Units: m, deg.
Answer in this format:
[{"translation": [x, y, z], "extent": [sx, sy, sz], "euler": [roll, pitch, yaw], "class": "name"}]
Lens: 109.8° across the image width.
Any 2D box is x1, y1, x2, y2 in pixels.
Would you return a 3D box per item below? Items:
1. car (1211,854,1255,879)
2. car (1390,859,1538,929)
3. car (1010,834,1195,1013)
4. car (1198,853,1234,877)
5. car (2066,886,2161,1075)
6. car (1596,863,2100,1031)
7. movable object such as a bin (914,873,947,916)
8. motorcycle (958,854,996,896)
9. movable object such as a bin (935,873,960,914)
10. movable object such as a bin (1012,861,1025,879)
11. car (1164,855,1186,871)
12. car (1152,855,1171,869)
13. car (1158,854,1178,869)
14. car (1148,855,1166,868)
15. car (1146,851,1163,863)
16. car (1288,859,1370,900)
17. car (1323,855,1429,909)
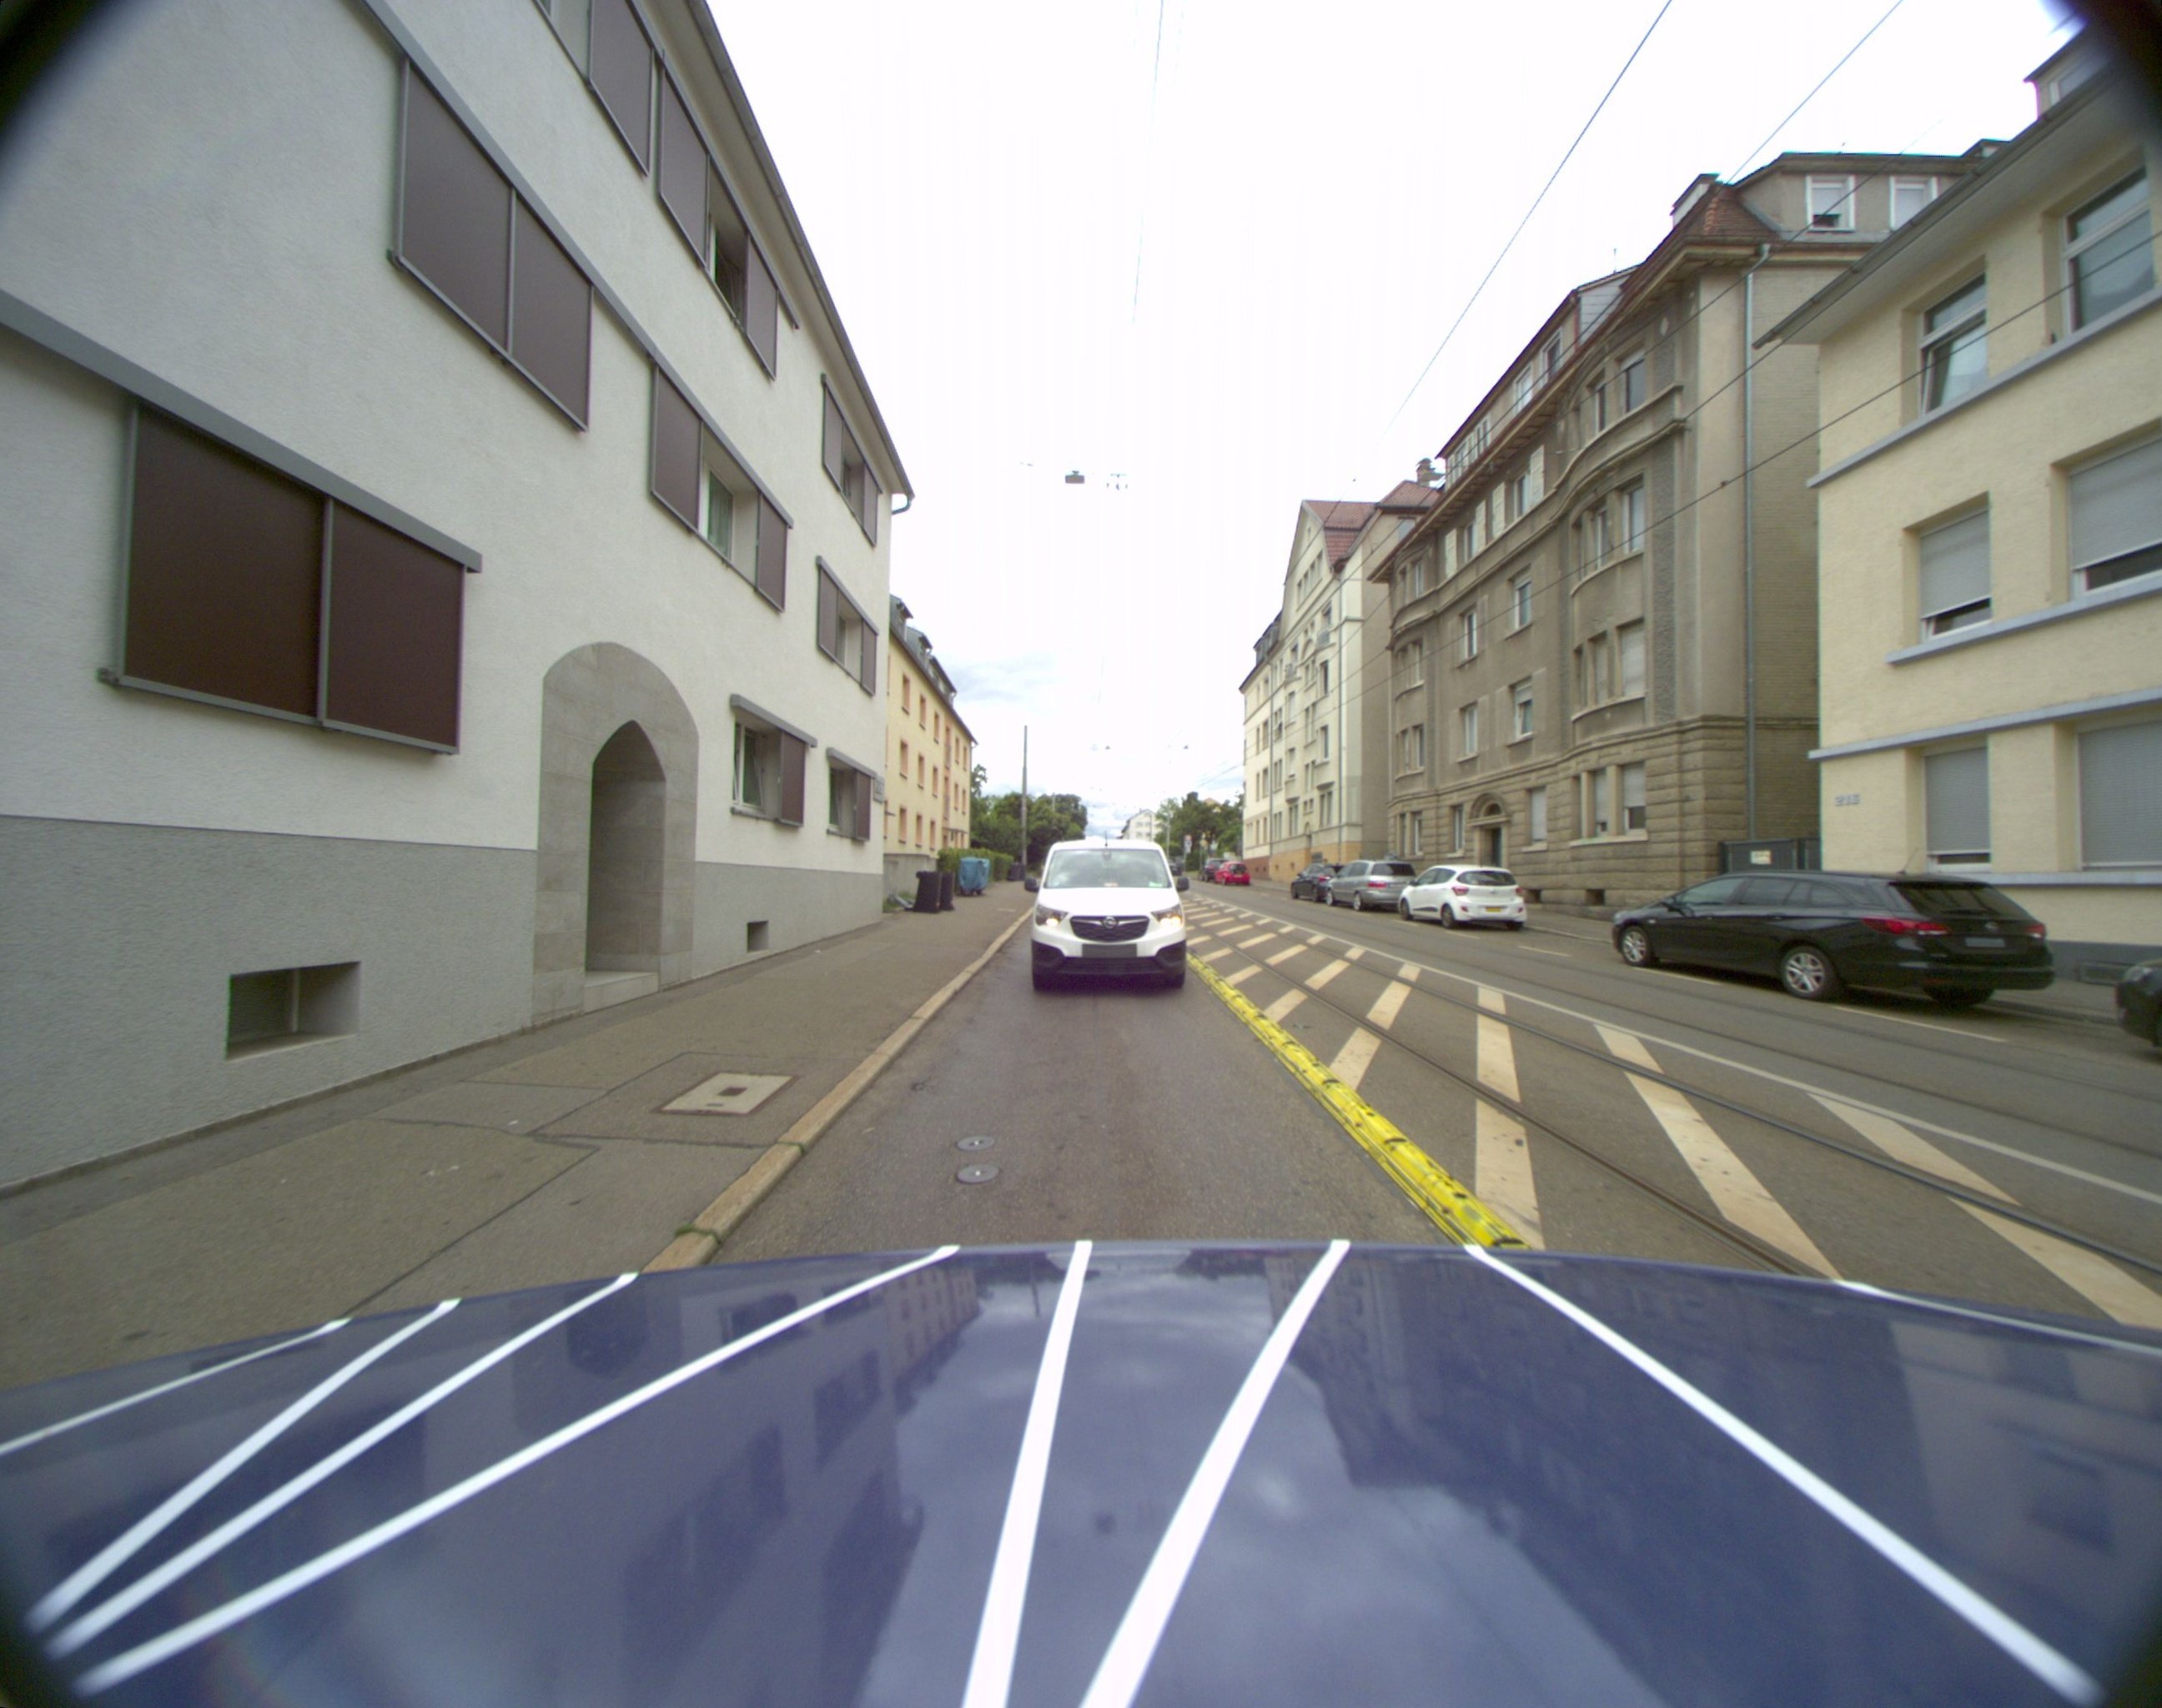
[{"translation": [9.575, 0.779, 48.240], "extent": [1.743, 1.450, 3.950], "euler": [2, 0, -3], "class": "car"}, {"translation": [9.219, 0.894, 18.678], "extent": [1.743, 1.502, 3.800], "euler": [1, 0, 1], "class": "car"}, {"translation": [0.253, 0.715, 10.224], "extent": [1.888, 1.827, 4.676], "euler": [-1, 0, 1], "class": "car"}, {"translation": [9.440, 0.757, 53.272], "extent": [1.743, 1.517, 3.951], "euler": [2, 0, 0], "class": "car"}, {"translation": [9.072, 1.008, 4.171], "extent": [1.789, 1.402, 4.241], "euler": [2, 0, 1], "class": "car"}, {"translation": [8.949, 0.925, 9.616], "extent": [1.789, 1.502, 4.526], "euler": [2, 0, 1], "class": "car"}, {"translation": [-3.716, 1.005, 18.815], "extent": [0.637, 1.003, 0.602], "euler": [3, 0, 1], "class": "movable object such as a bin"}, {"translation": [-3.648, 0.741, 26.857], "extent": [0.731, 1.382, 1.937], "euler": [4, 0, 7], "class": "motorcycle"}, {"translation": [-3.474, 1.022, 19.775], "extent": [0.565, 1.003, 0.498], "euler": [3, 0, -8], "class": "movable object such as a bin"}, {"translation": [-3.603, 0.940, 44.042], "extent": [0.669, 1.053, 0.539], "euler": [-1, 0, 1], "class": "movable object such as a bin"}, {"translation": [9.716, 0.876, 78.689], "extent": [1.743, 1.517, 3.951], "euler": [2, 0, 0], "class": "car"}, {"translation": [9.650, 0.966, 91.351], "extent": [1.743, 1.517, 3.951], "euler": [2, 0, 0], "class": "car"}, {"translation": [9.724, 0.843, 85.068], "extent": [1.743, 1.517, 3.952], "euler": [2, 0, 1], "class": "car"}, {"translation": [9.652, 0.924, 96.578], "extent": [1.743, 1.517, 3.951], "euler": [2, 0, 0], "class": "car"}, {"translation": [9.889, 0.359, 102.462], "extent": [1.743, 1.517, 3.951], "euler": [2, 0, 0], "class": "car"}, {"translation": [9.294, 0.913, 28.787], "extent": [1.743, 1.373, 4.044], "euler": [0, 0, 0], "class": "car"}, {"translation": [9.230, 0.820, 24.176], "extent": [1.743, 1.558, 4.142], "euler": [0, 0, 0], "class": "car"}]
